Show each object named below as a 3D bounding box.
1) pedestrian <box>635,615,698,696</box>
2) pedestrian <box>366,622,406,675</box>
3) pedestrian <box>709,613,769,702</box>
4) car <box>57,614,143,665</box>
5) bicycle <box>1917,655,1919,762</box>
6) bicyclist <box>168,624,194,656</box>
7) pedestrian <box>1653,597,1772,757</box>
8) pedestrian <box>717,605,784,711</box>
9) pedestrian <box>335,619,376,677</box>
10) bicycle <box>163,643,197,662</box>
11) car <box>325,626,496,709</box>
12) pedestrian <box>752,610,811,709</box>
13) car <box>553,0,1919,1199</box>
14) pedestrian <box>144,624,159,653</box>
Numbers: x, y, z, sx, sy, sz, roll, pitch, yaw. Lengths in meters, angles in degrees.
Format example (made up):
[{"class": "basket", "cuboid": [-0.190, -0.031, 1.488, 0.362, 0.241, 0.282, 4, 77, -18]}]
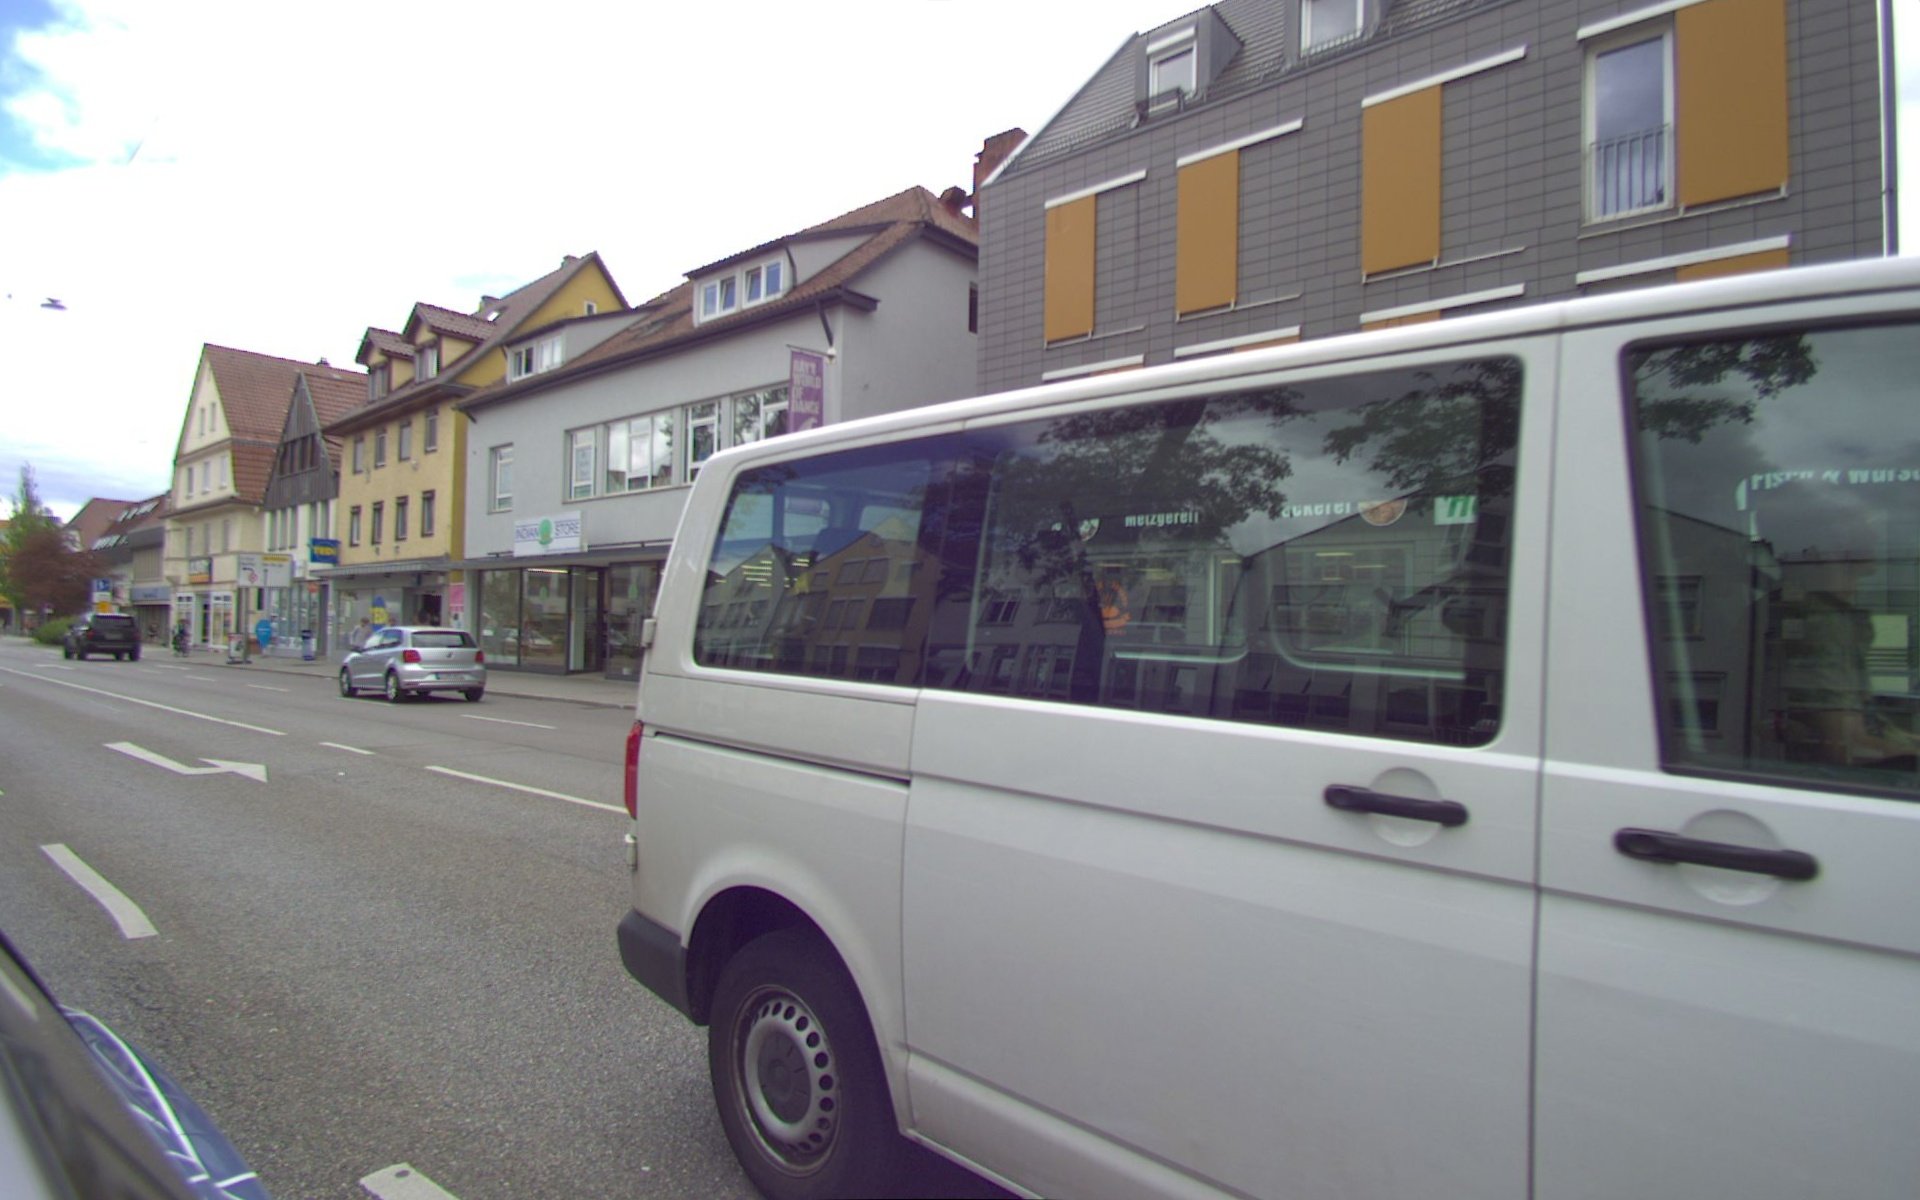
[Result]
[{"class": "pedestrian", "cuboid": [-6.324, 1.178, 21.791, 0.872, 1.679, 0.988, -2, -2, 42]}, {"class": "pedestrian", "cuboid": [-17.479, 1.466, 30.819, 0.920, 1.595, 0.801, -2, -2, 42]}, {"class": "pedestrian", "cuboid": [-4.365, 1.119, 19.995, 0.870, 1.711, 0.795, -2, -3, 43]}, {"class": "car", "cuboid": [-35.197, 1.626, 41.365, 4.767, 1.984, 1.903, -2, -4, 41]}, {"class": "bicycle", "cuboid": [9.641, 1.115, 8.610, 2.118, 1.241, 0.576, -2, -2, 40]}, {"class": "bicyclist", "cuboid": [-35.051, 1.785, 45.515, 0.751, 1.434, 0.763, -2, -3, 40]}, {"class": "pedestrian", "cuboid": [8.292, 0.813, 11.151, 0.971, 1.656, 0.878, -2, -2, 41]}, {"class": "pedestrian", "cuboid": [-3.805, 1.034, 18.366, 1.028, 1.853, 0.699, -2, -3, 43]}, {"class": "pedestrian", "cuboid": [-17.997, 1.415, 30.120, 0.920, 1.674, 0.801, -2, -2, 42]}, {"class": "bicycle", "cuboid": [-35.056, 2.358, 45.485, 2.238, 0.829, 0.763, -1, -3, 41]}, {"class": "car", "cuboid": [-11.083, 1.286, 20.314, 4.034, 1.459, 1.740, -1, -3, 42]}, {"class": "pedestrian", "cuboid": [-3.342, 1.098, 18.938, 0.870, 1.795, 0.699, -2, -3, 43]}, {"class": "car", "cuboid": [1.295, 0.402, 2.045, 4.838, 2.029, 1.973, -2, -1, 41]}, {"class": "pedestrian", "cuboid": [-53.771, 2.549, 67.297, 0.678, 1.917, 0.665, -2, -3, 41]}]
